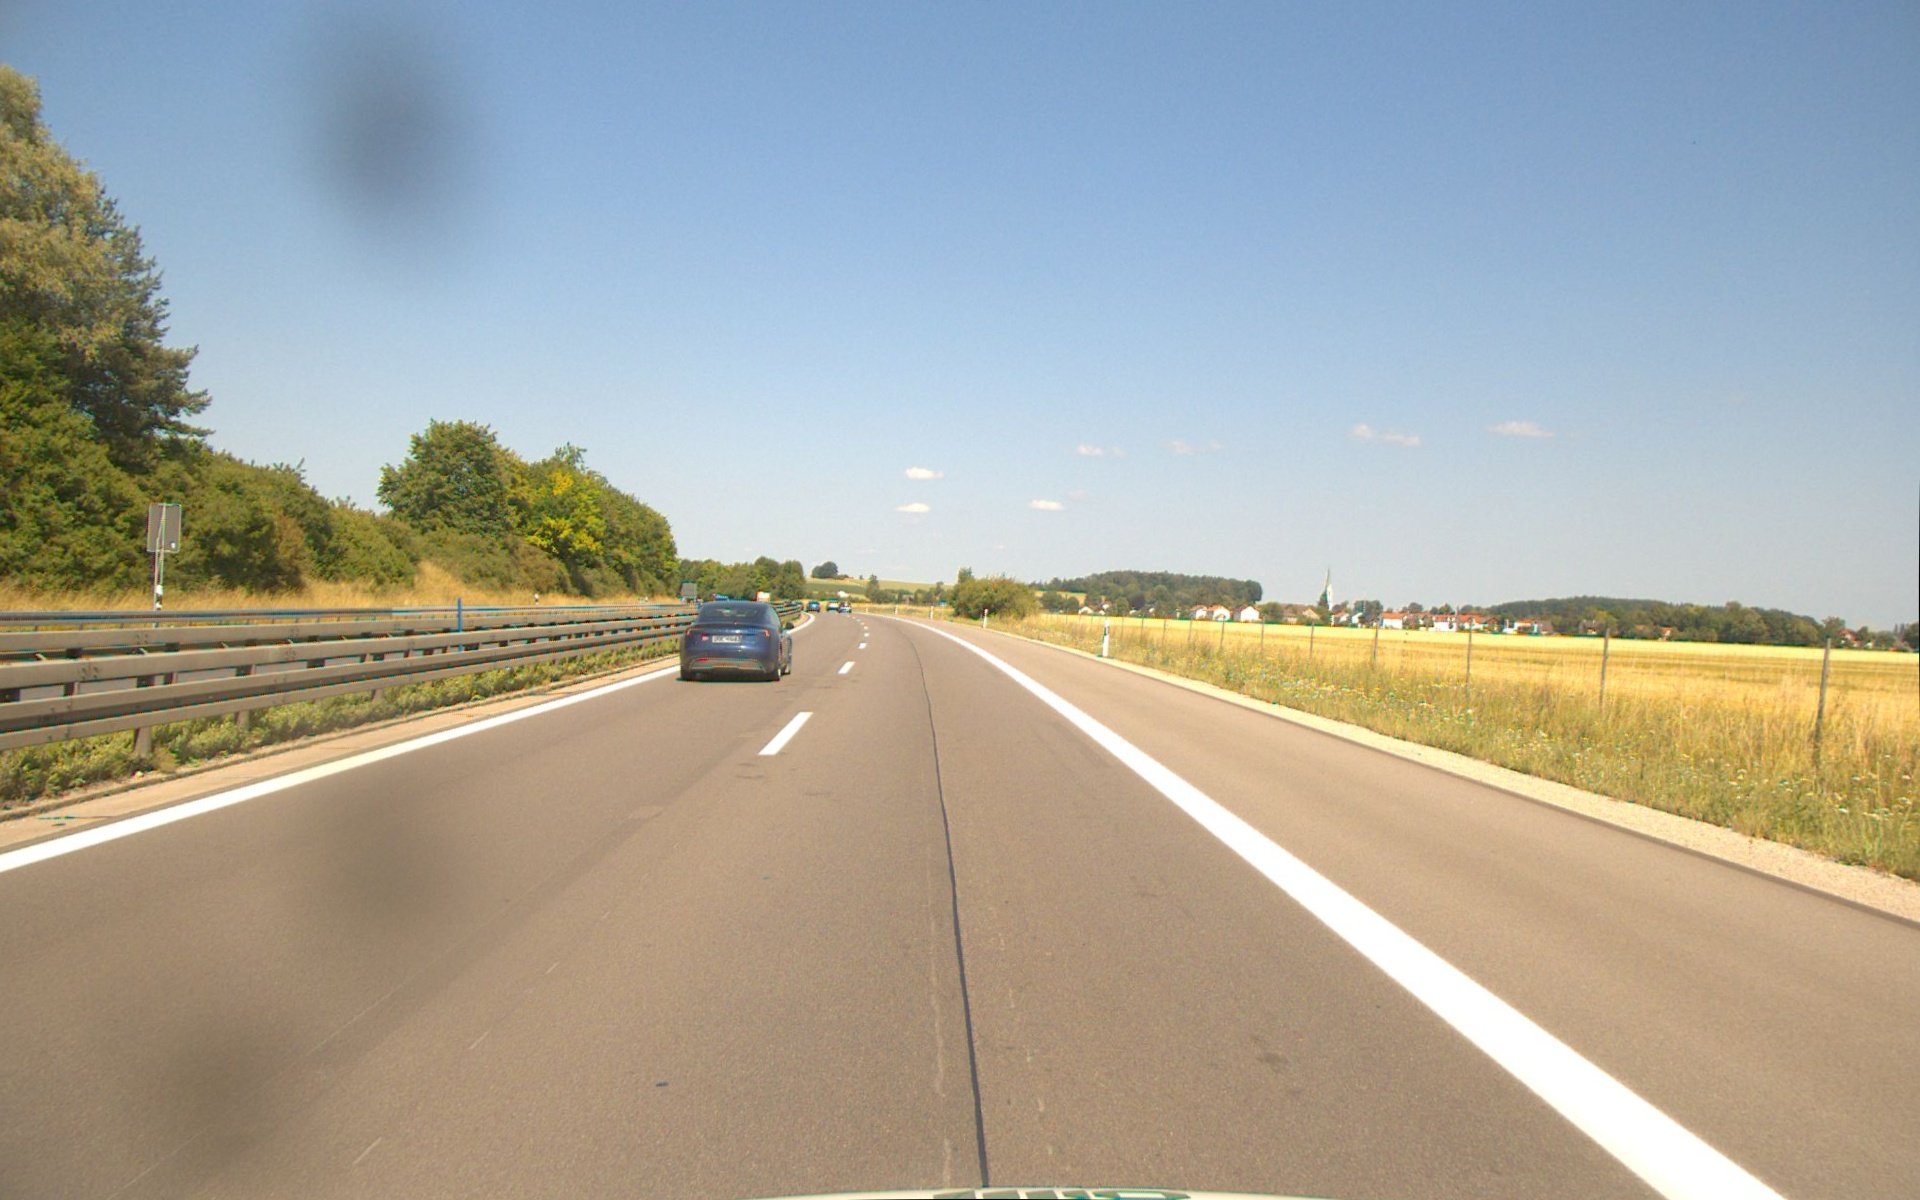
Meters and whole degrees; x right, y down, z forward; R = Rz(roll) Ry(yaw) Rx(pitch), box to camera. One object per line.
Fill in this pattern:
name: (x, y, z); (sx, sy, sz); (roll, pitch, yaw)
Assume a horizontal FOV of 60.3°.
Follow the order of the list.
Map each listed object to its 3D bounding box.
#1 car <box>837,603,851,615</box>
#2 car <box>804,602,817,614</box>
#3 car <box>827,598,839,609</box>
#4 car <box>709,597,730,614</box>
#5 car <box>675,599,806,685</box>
car: (-14.825, 1.129, 211.109); (1.644, 1.479, 3.587); (1, 0, -6)
car: (-19.705, 1.086, 217.505); (1.643, 1.479, 3.588); (1, 0, -5)
car: (-19.128, 0.529, 249.093); (1.644, 1.479, 3.587); (1, 0, -6)
car: (-24.513, 0.546, 168.933); (1.716, 1.592, 4.576); (2, 0, -4)
car: (-4.141, 0.745, 32.110); (1.809, 1.458, 5.865); (1, 0, -1)
